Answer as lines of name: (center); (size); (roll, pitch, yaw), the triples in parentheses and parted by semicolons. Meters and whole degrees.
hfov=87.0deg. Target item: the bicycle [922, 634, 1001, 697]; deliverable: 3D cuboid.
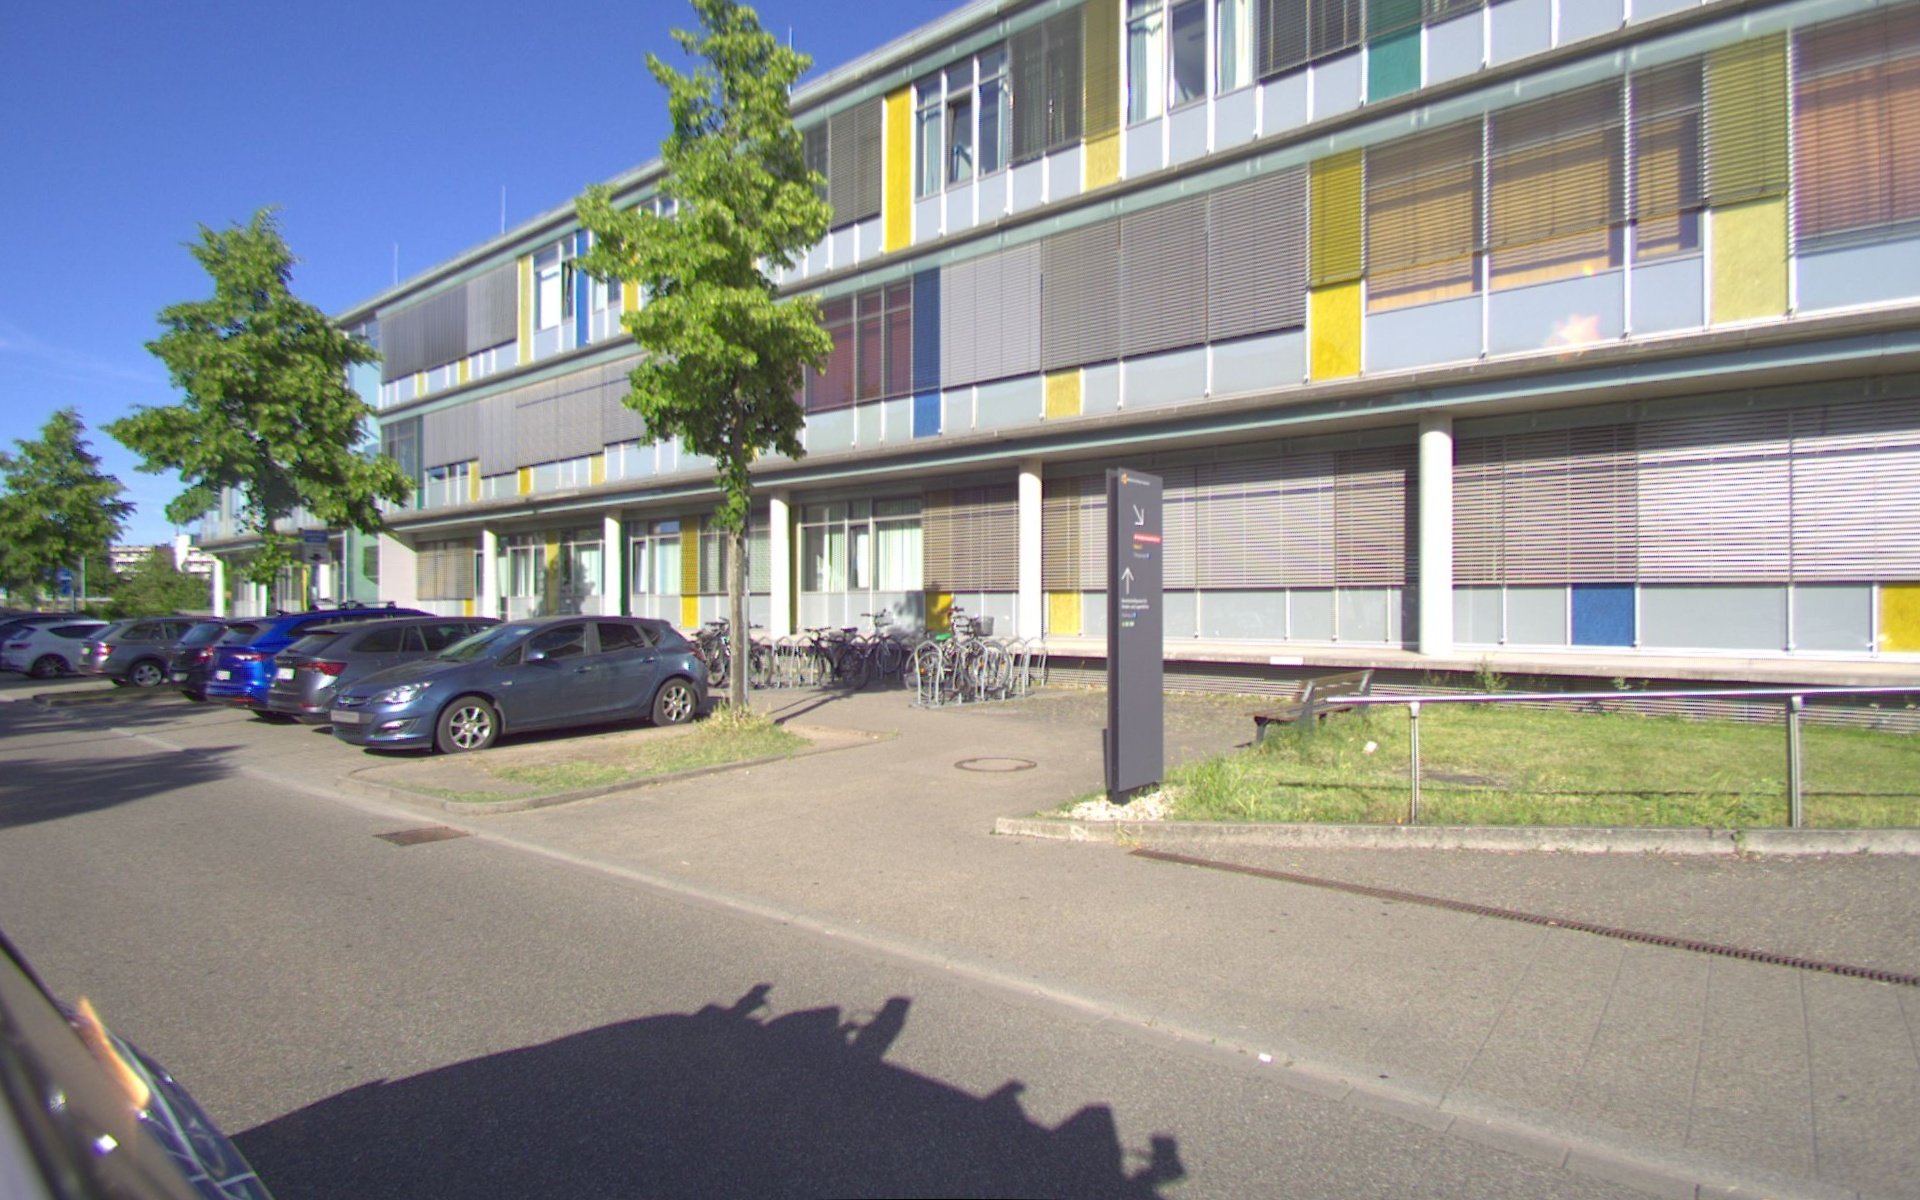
bicycle: (0.017, 1.086, 17.061); (1.393, 1.030, 0.349); (-1, -2, 34)

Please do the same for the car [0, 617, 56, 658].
car: (-40.582, 1.598, 42.107); (2.001, 1.659, 4.300); (-1, 1, 44)

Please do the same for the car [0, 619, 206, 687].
car: (-22.255, 1.303, 26.190); (1.821, 1.433, 4.053); (0, 1, 37)

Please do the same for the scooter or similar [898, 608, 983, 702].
scooter or similar: (-0.282, 0.765, 14.406); (1.204, 1.283, 0.465); (-1, -2, 41)

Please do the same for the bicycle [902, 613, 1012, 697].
bicycle: (-0.065, 0.853, 15.369); (1.647, 1.056, 0.349); (-11, -8, 34)

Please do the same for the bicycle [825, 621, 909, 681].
bicycle: (-1.857, 0.993, 20.026); (1.853, 1.144, 0.443); (-1, -2, 38)

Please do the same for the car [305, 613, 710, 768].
car: (-5.200, 0.924, 12.101); (1.751, 1.478, 4.092); (-1, -1, 38)

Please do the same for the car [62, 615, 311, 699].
car: (-16.634, 1.153, 21.926); (1.821, 1.499, 3.944); (0, 1, 37)

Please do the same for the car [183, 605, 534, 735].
car: (-8.954, 0.928, 15.371); (1.957, 1.664, 4.182); (-1, -1, 37)

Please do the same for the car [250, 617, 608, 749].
car: (-7.005, 0.992, 13.698); (1.728, 1.448, 3.951); (-1, -1, 37)

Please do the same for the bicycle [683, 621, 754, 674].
bicycle: (-5.712, 1.096, 23.894); (1.853, 1.208, 0.640); (-1, -2, 38)

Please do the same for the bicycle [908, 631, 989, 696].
bicycle: (-0.202, 1.029, 16.716); (1.393, 1.030, 0.349); (-1, -2, 34)

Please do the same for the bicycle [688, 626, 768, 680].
bicycle: (-4.979, 1.117, 21.676); (1.853, 1.104, 0.640); (-1, -2, 38)

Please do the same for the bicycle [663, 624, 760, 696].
bicycle: (-4.181, 0.978, 16.949); (1.777, 1.151, 0.629); (-1, -1, 38)

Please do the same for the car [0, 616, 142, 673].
car: (-28.960, 1.398, 32.089); (1.995, 1.602, 4.311); (-2, 0, 35)

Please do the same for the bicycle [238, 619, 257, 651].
bicycle: (-27.012, 1.330, 38.382); (0.455, 1.104, 1.517); (-1, 2, -31)

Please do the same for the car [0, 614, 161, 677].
car: (-26.723, 1.298, 30.071); (1.995, 1.639, 4.311); (0, 1, 35)

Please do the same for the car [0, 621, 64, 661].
car: (-38.488, 1.662, 40.107); (2.001, 1.471, 4.300); (-1, 1, 44)

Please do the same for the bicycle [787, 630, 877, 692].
bicycle: (-2.252, 1.037, 17.632); (1.777, 1.023, 0.443); (-1, -1, 38)

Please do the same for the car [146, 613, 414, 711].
car: (-12.421, 1.046, 18.706); (1.772, 1.499, 3.713); (0, 1, 31)

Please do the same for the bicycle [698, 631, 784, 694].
bicycle: (-3.769, 1.046, 17.346); (1.777, 1.023, 0.423); (-1, -1, 38)

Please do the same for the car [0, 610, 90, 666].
car: (-34.301, 1.390, 36.361); (1.998, 1.877, 4.304); (-1, 0, 40)
